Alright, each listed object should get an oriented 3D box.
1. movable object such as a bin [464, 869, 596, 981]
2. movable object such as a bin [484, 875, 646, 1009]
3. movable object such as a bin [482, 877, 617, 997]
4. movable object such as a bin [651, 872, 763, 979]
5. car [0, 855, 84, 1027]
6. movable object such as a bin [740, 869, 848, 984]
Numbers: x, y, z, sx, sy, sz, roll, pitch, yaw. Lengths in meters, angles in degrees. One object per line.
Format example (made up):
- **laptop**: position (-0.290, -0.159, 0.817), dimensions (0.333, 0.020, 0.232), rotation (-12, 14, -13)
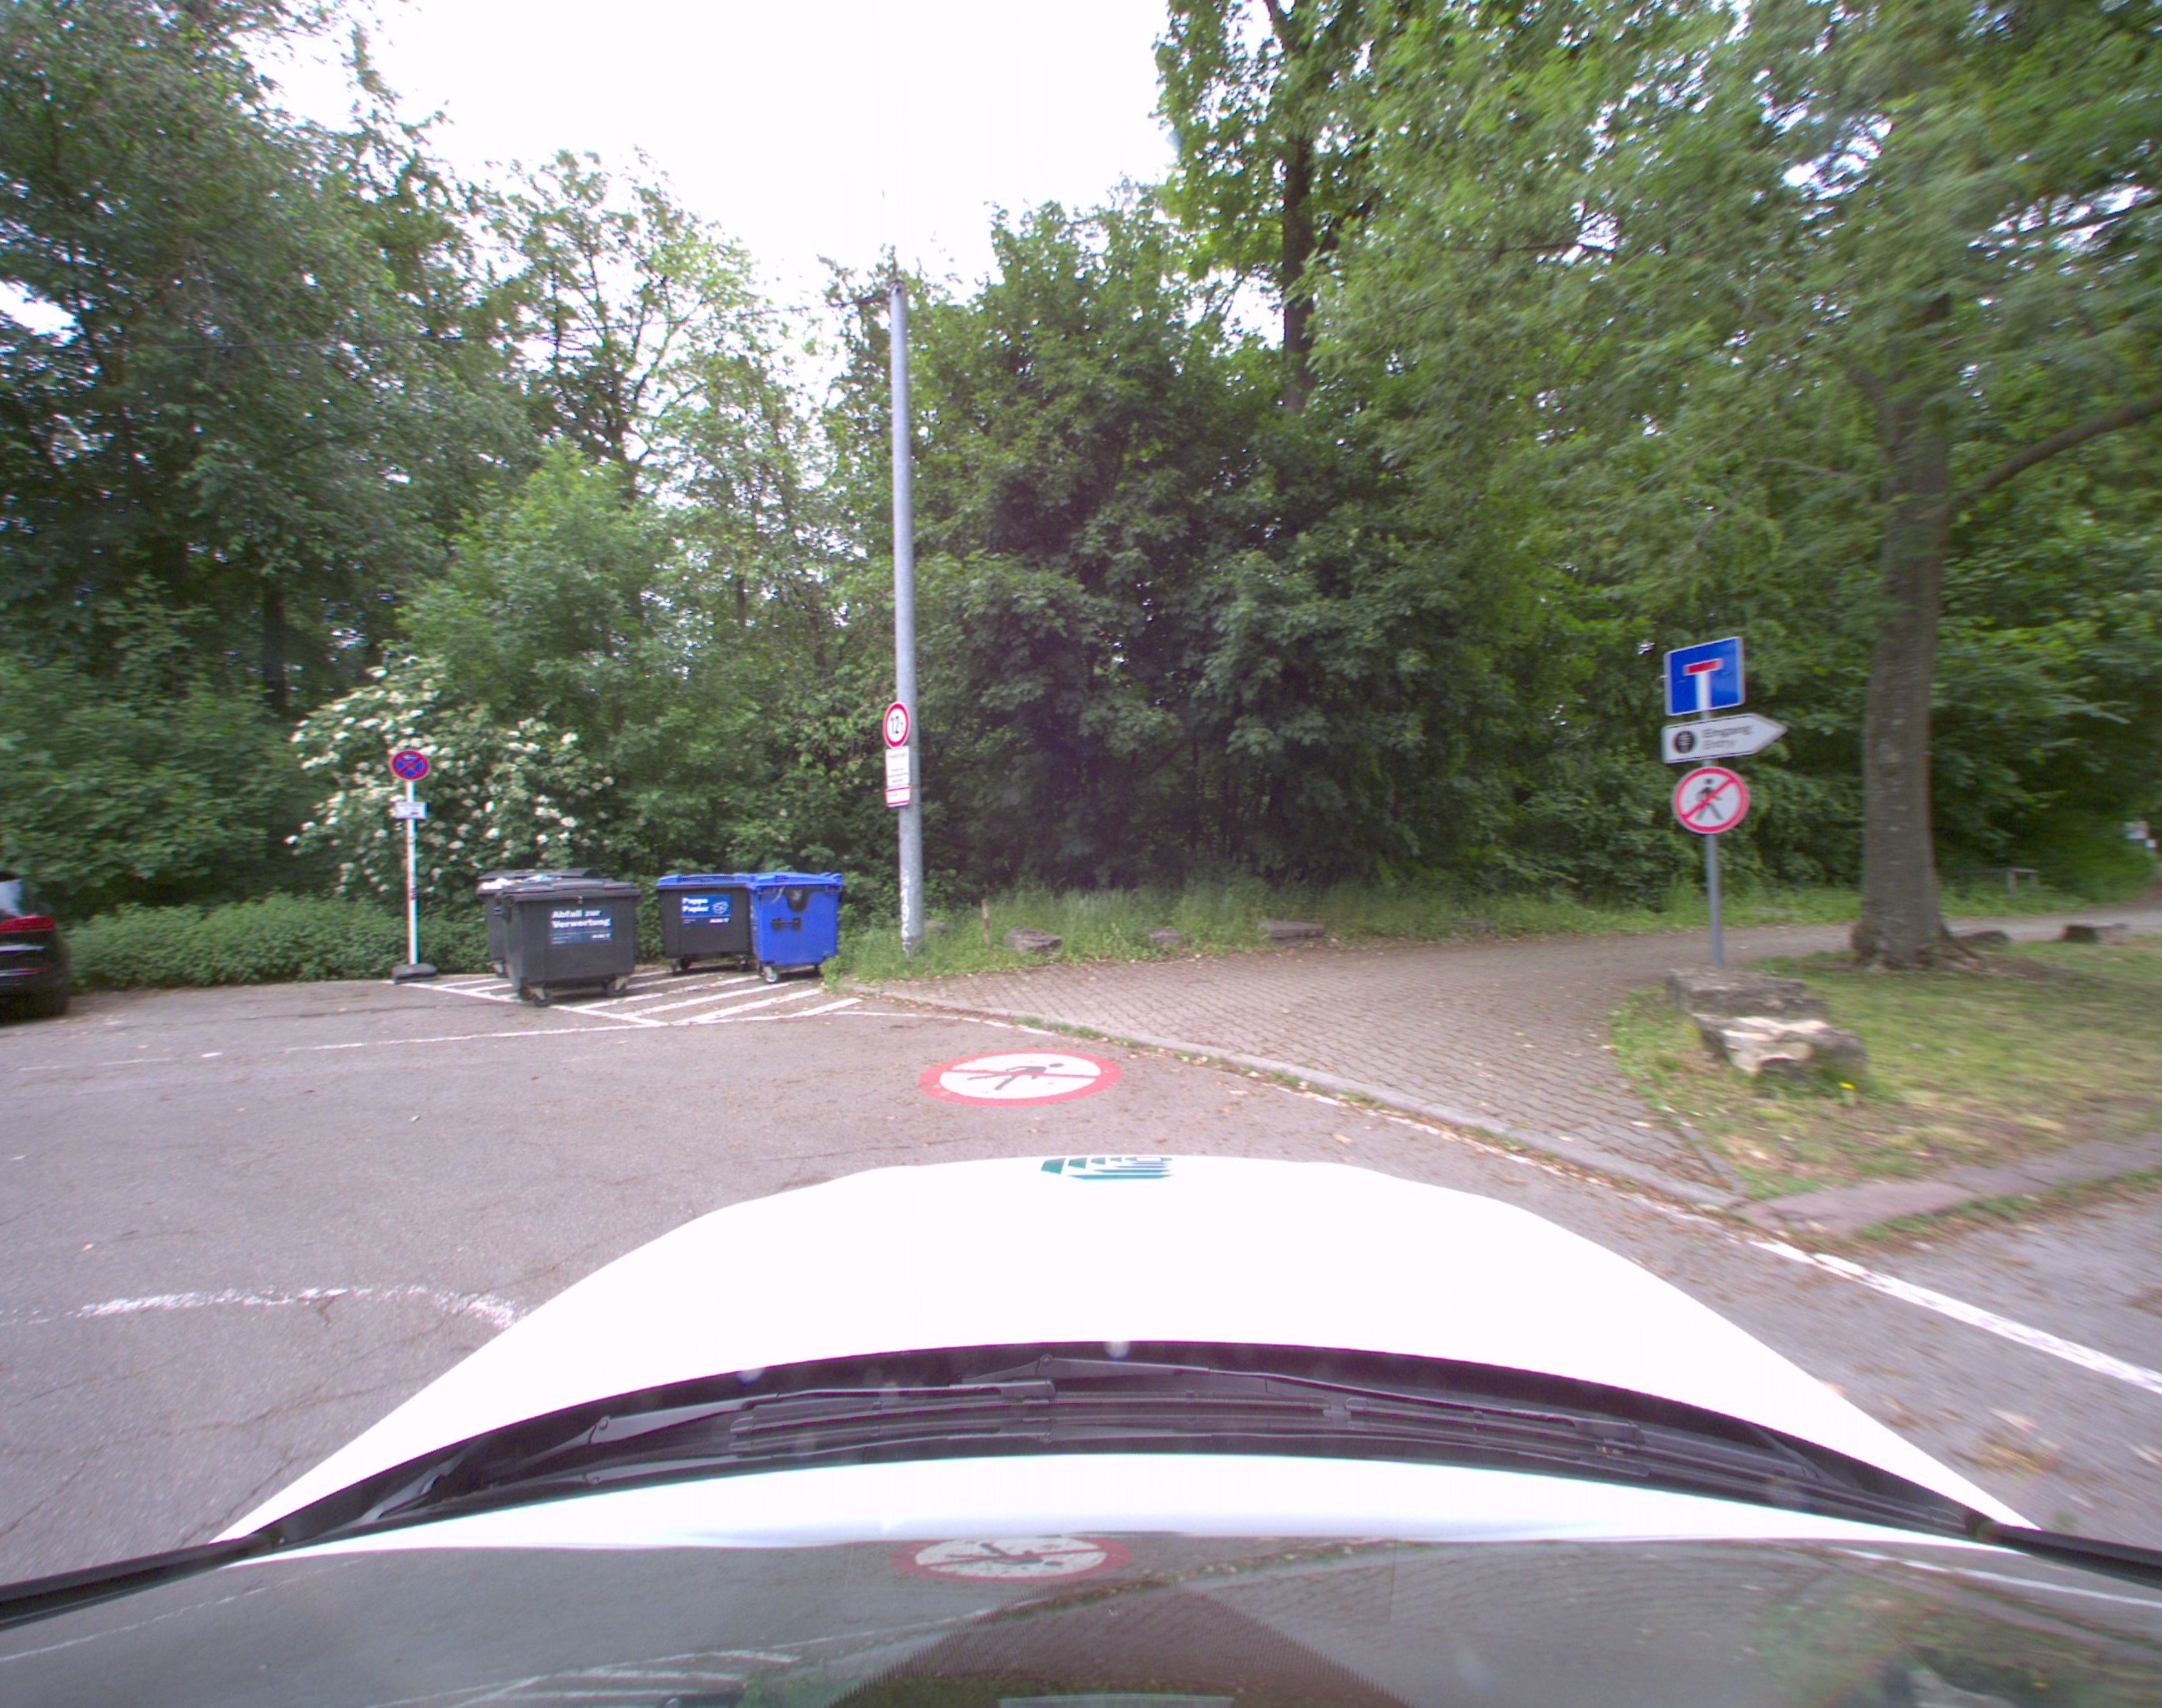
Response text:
- **movable object such as a bin**: position (-7.576, 0.938, 11.280), dimensions (1.127, 1.425, 1.123), rotation (-1, 0, -11)
- **movable object such as a bin**: position (-5.773, 0.916, 9.113), dimensions (1.321, 1.307, 1.158), rotation (-1, -1, -44)
- **movable object such as a bin**: position (-6.537, 0.964, 10.021), dimensions (1.191, 1.315, 1.113), rotation (-1, -1, -44)
- **movable object such as a bin**: position (-5.079, 0.928, 11.176), dimensions (1.239, 1.320, 1.120), rotation (-1, 0, -18)
- **car**: position (-12.604, 0.914, 8.823), dimensions (4.019, 1.685, 1.796), rotation (-1, 0, 32)
- **movable object such as a bin**: position (-3.695, 0.873, 10.442), dimensions (1.149, 1.325, 1.246), rotation (-1, 0, -26)
